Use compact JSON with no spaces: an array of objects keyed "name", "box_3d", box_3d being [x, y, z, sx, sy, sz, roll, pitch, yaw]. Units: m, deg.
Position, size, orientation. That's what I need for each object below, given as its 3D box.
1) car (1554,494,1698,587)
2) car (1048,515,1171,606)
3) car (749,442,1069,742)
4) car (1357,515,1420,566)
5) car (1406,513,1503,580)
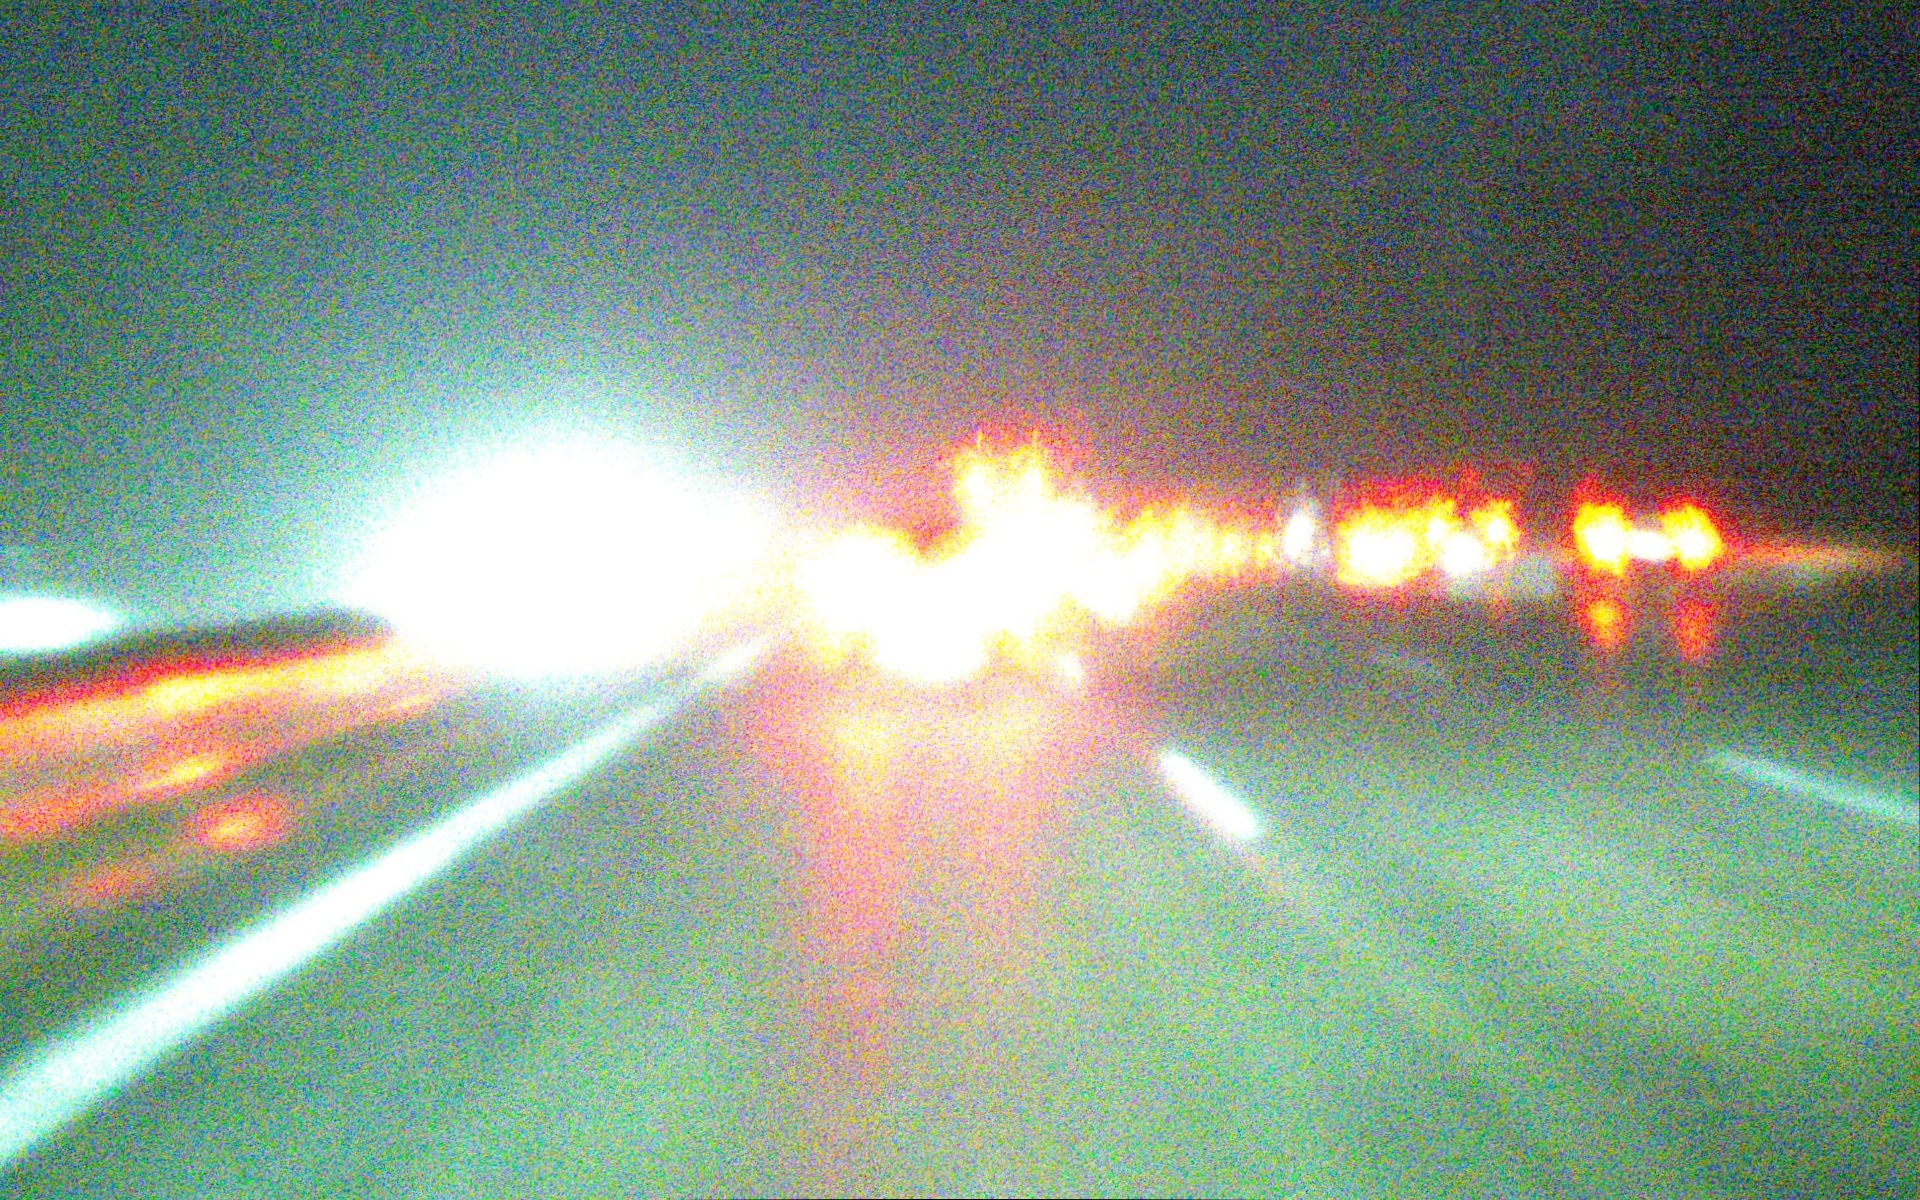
[{"name":"car","box_3d":[12.184,-1.091,63.117,1.856,1.612,4.000,1,1,0]},{"name":"car","box_3d":[2.768,-0.751,64.452,2.137,1.612,4.000,1,1,0]},{"name":"car","box_3d":[-0.543,-0.152,32.864,2.709,2.525,5.832,-2,2,-2]},{"name":"car","box_3d":[13.659,-1.901,109.692,1.713,1.553,4.000,1,1,4]},{"name":"car","box_3d":[12.472,-1.354,86.895,1.856,1.612,4.000,1,1,0]}]
